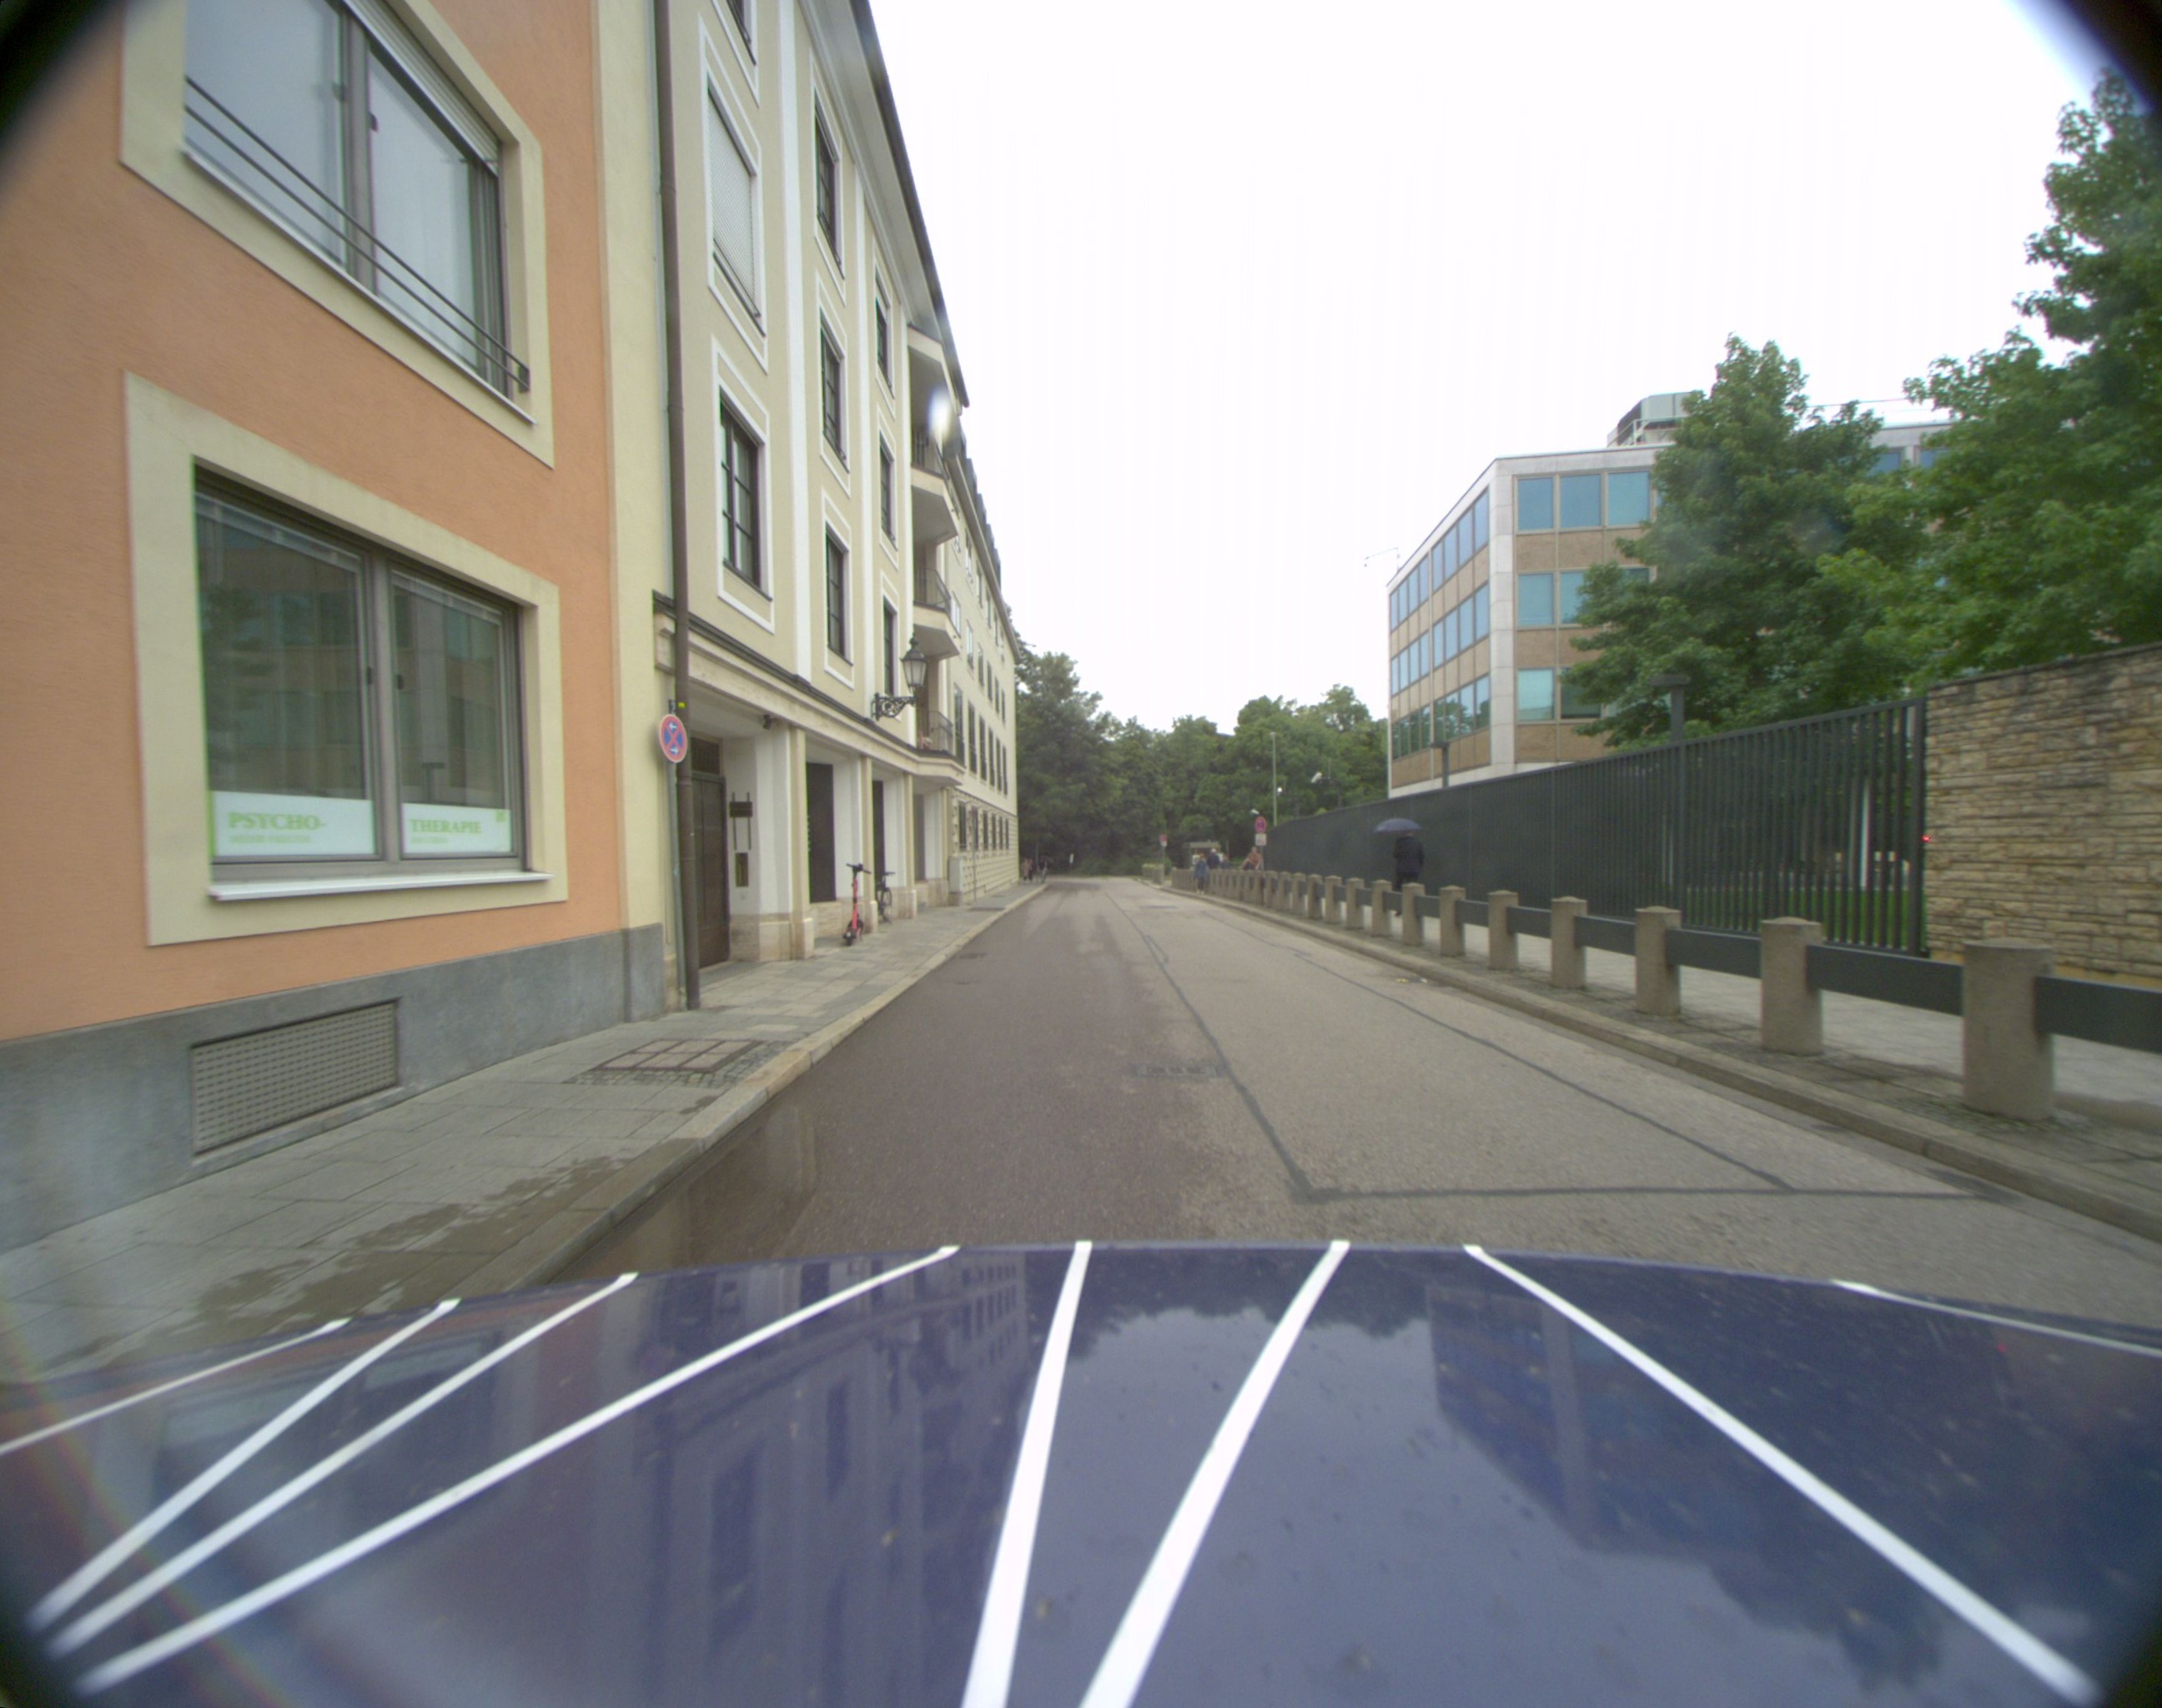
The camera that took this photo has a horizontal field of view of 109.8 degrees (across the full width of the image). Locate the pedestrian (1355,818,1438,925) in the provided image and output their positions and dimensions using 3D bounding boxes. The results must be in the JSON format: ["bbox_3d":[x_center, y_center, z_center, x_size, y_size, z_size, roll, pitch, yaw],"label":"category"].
[{"bbox_3d":[6.412,0.341,15.502,1.226,2.092,1.116,-1,0,2],"label":"pedestrian"}]

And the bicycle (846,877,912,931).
[{"bbox_3d":[-4.110,0.985,15.607,0.464,0.988,2.080,0,-1,10],"label":"bicycle"}]

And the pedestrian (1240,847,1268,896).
[{"bbox_3d":[6.314,0.620,27.795,0.826,1.713,0.906,-3,0,5],"label":"pedestrian"}]

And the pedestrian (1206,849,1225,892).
[{"bbox_3d":[5.639,0.683,31.883,0.625,1.758,0.766,-1,0,0],"label":"pedestrian"}]

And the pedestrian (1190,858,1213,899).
[{"bbox_3d":[4.488,0.893,28.407,0.640,1.459,1.079,-3,0,1],"label":"pedestrian"}]

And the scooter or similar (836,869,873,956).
[{"bbox_3d":[-3.549,0.886,11.953,0.466,1.251,1.275,1,1,-13],"label":"scooter or similar"}]

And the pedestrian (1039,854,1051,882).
[{"bbox_3d":[-2.283,0.875,48.508,0.753,1.726,0.853,-1,0,-1],"label":"pedestrian"}]

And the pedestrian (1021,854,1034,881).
[{"bbox_3d":[-3.407,0.840,48.032,0.753,1.671,0.655,-1,0,-1],"label":"pedestrian"}]

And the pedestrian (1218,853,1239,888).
[{"bbox_3d":[6.643,0.744,34.253,0.778,1.531,0.933,-3,0,8],"label":"pedestrian"}]
